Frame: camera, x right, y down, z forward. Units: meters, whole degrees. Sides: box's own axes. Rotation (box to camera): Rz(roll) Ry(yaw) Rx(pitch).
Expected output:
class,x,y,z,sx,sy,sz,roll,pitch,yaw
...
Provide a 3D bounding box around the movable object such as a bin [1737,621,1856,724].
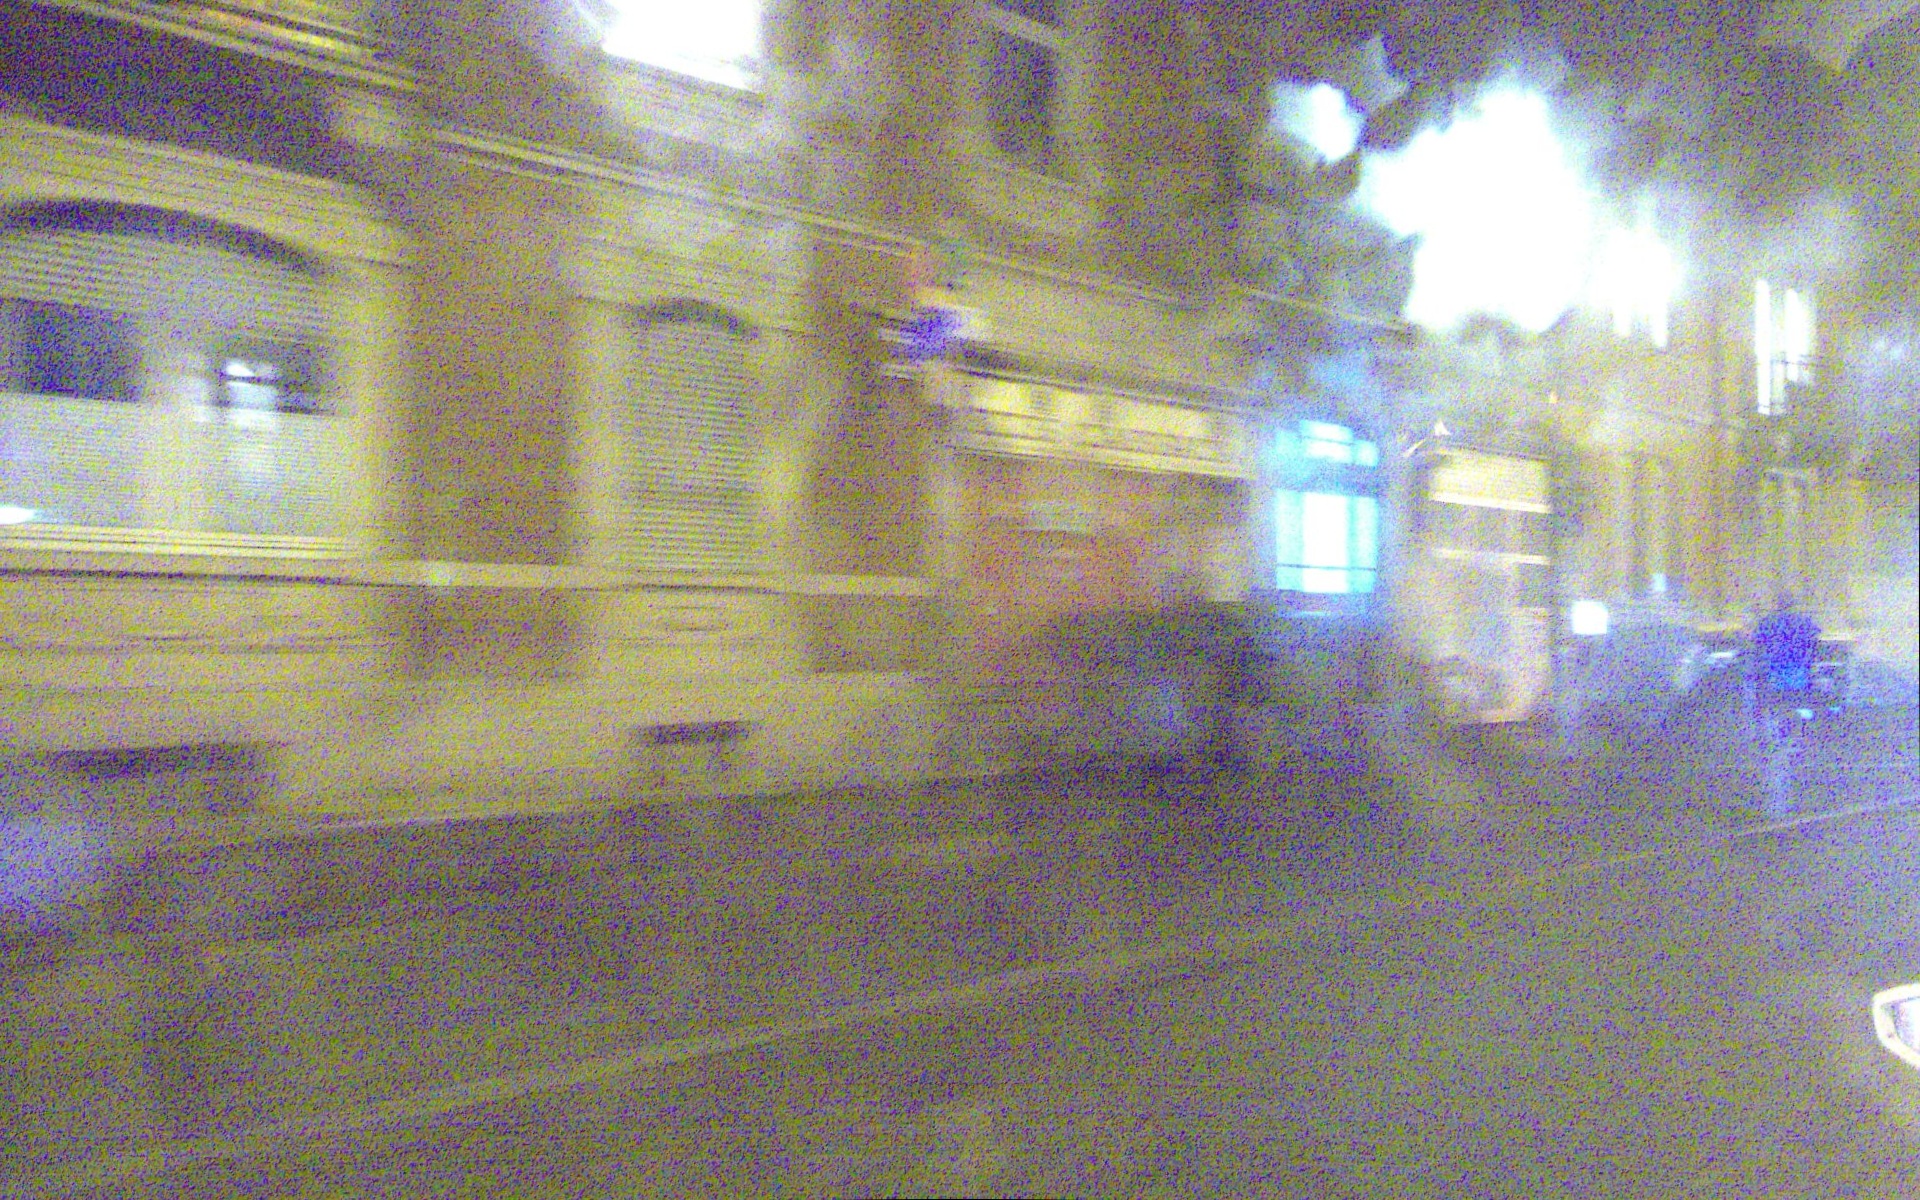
class,x,y,z,sx,sy,sz,roll,pitch,yaw
movable object such as a bin,12.367,1.036,14.865,1.119,1.417,0.971,1,1,-27

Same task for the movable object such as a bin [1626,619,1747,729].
class,x,y,z,sx,sy,sz,roll,pitch,yaw
movable object such as a bin,10.287,1.017,14.238,1.119,1.439,0.971,1,1,-27

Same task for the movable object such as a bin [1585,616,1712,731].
class,x,y,z,sx,sy,sz,roll,pitch,yaw
movable object such as a bin,9.271,0.962,13.543,1.119,1.439,0.971,1,1,-27

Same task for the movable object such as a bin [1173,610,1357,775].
class,x,y,z,sx,sy,sz,roll,pitch,yaw
movable object such as a bin,2.930,0.839,9.721,1.232,1.439,1.136,1,1,-27

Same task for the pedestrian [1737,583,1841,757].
class,x,y,z,sx,sy,sz,roll,pitch,yaw
pedestrian,9.201,0.748,11.154,0.785,1.845,0.588,1,2,-30

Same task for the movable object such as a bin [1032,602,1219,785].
class,x,y,z,sx,sy,sz,roll,pitch,yaw
movable object such as a bin,1.430,0.762,8.810,1.139,1.439,1.136,1,1,-27
